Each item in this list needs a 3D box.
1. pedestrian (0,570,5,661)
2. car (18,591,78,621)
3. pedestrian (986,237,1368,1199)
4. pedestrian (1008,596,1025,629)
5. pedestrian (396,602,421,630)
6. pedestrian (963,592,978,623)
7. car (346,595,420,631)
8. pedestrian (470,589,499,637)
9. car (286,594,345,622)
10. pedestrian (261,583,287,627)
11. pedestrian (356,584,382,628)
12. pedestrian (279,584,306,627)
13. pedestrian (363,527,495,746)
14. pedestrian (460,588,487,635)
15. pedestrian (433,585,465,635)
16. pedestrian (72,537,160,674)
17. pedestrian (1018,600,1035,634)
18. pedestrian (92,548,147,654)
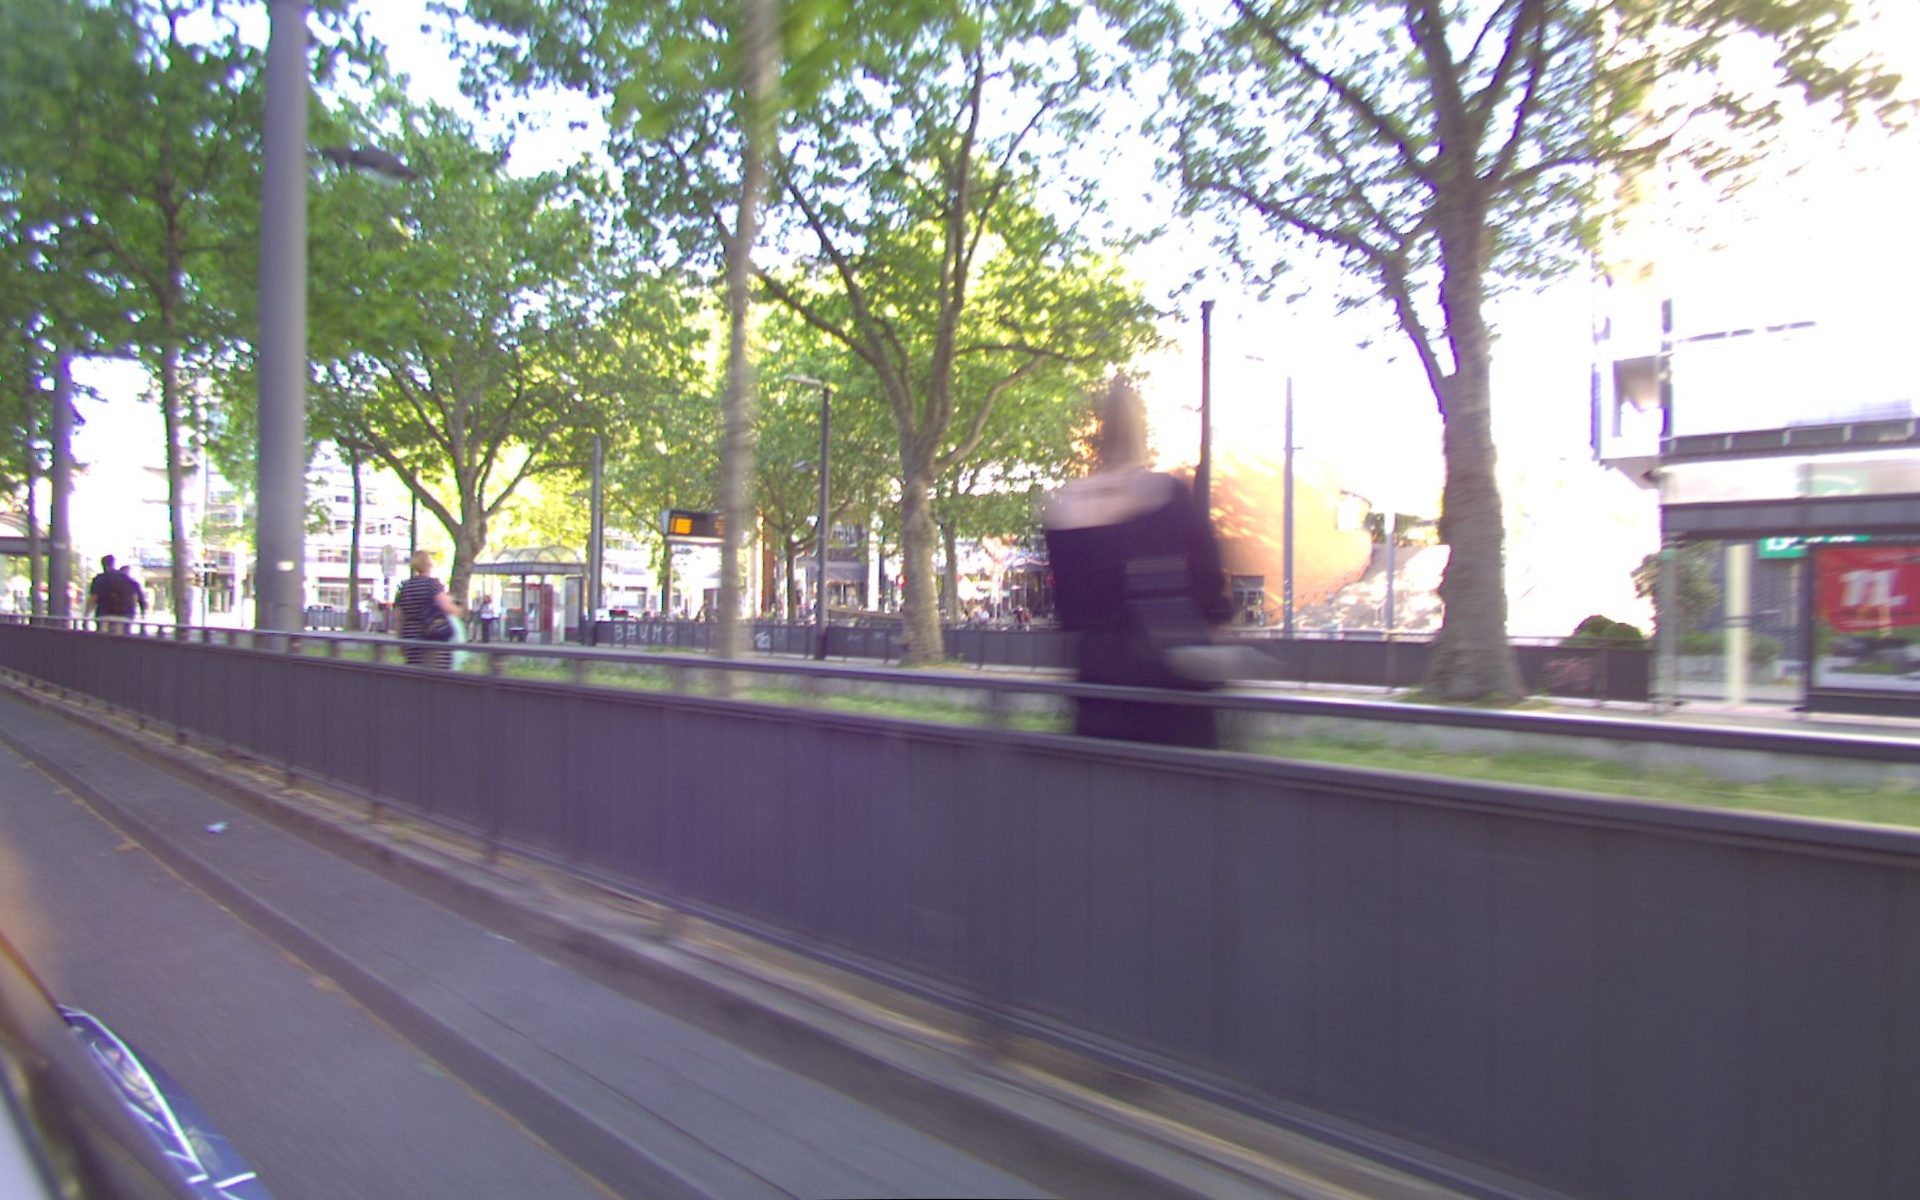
[{"bbox_3d":[-18.502,0.296,18.986,0.644,1.702,0.733,1,2,39],"label":"pedestrian"},{"bbox_3d":[-46.246,0.307,51.290,3.340,1.466,1.847,1,0,41],"label":"car"},{"bbox_3d":[0.527,0.244,2.430,0.661,1.901,0.639,0,-1,40],"label":"pedestrian"},{"bbox_3d":[2.758,0.607,49.174,0.571,1.616,0.580,1,0,-45],"label":"pedestrian"},{"bbox_3d":[-21.274,0.611,39.050,0.713,1.048,0.699,1,0,-42],"label":"pedestrian"},{"bbox_3d":[0.574,0.402,54.864,0.597,1.616,0.572,0,0,39],"label":"pedestrian"},{"bbox_3d":[-28.211,0.642,49.443,3.999,1.652,1.972,1,-1,42],"label":"car"},{"bbox_3d":[-15.028,0.420,31.979,0.605,1.497,0.566,0,-1,29],"label":"pedestrian"},{"bbox_3d":[-35.415,0.437,55.600,3.340,1.466,1.847,1,0,41],"label":"car"},{"bbox_3d":[-28.044,0.193,41.393,0.674,1.767,0.649,0,0,32],"label":"pedestrian"},{"bbox_3d":[-24.022,0.231,41.160,0.635,1.753,0.690,0,0,32],"label":"pedestrian"},{"bbox_3d":[-27.263,0.216,41.320,0.697,1.708,0.679,0,0,32],"label":"pedestrian"},{"bbox_3d":[-4.442,0.283,8.463,0.862,1.715,0.721,0,0,42],"label":"pedestrian"},{"bbox_3d":[-15.531,0.362,32.313,0.549,1.508,0.549,0,0,29],"label":"pedestrian"},{"bbox_3d":[-17.188,0.318,34.045,0.666,1.654,0.662,1,0,29],"label":"pedestrian"},{"bbox_3d":[-11.609,0.067,13.926,0.825,1.815,0.701,0,0,33],"label":"pedestrian"},{"bbox_3d":[3.239,0.834,49.611,0.571,1.616,0.598,1,0,-45],"label":"pedestrian"},{"bbox_3d":[-15.122,0.018,18.212,0.638,1.853,0.640,0,-1,40],"label":"pedestrian"}]
